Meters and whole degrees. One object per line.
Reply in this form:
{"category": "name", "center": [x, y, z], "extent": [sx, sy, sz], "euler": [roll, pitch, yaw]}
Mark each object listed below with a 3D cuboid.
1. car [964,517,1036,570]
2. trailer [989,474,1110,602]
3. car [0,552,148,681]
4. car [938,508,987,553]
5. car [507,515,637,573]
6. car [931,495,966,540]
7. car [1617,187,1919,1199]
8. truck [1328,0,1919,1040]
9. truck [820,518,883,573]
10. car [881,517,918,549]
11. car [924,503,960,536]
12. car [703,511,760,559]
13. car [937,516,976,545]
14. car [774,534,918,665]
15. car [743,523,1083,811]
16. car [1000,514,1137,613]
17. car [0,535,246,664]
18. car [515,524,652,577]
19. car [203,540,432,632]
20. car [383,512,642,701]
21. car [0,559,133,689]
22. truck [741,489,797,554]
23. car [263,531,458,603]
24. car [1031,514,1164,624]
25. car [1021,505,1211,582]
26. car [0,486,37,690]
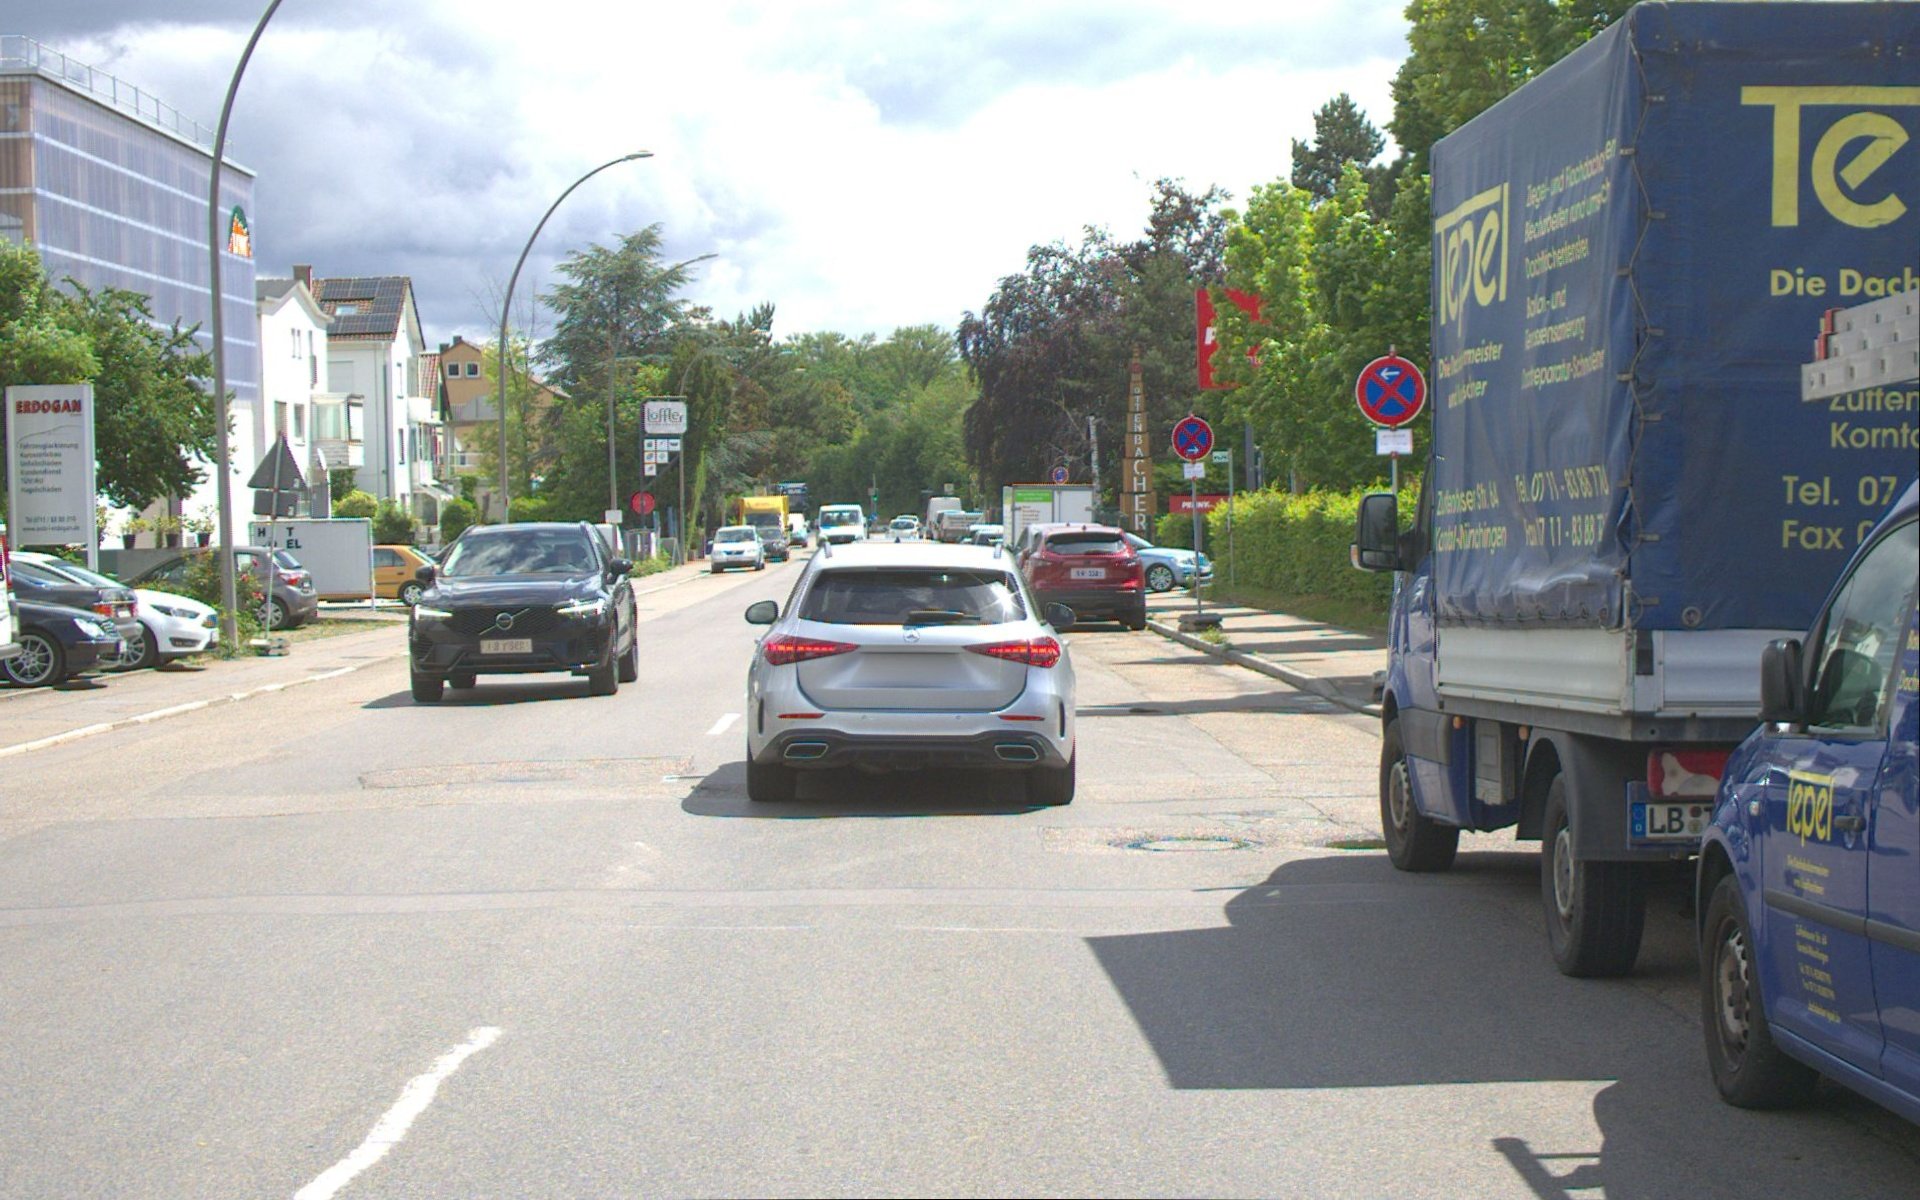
{"category": "car", "center": [1.149, -1.675, 100.568], "extent": [1.791, 1.445, 4.364], "euler": [-2, 2, -3]}
{"category": "trailer", "center": [1.639, -1.174, 64.586], "extent": [1.941, 2.286, 4.446], "euler": [-2, 1, -2]}
{"category": "car", "center": [-11.301, 0.189, 38.372], "extent": [3.987, 1.350, 1.871], "euler": [-1, 2, 2]}
{"category": "car", "center": [0.093, -3.238, 159.371], "extent": [2.144, 1.977, 5.261], "euler": [-1, 2, 0]}
{"category": "car", "center": [-13.366, -1.918, 118.574], "extent": [4.279, 1.830, 1.991], "euler": [-1, -2, -2]}
{"category": "car", "center": [-0.687, -4.711, 196.806], "extent": [1.784, 2.510, 4.317], "euler": [0, 1, -3]}
{"category": "car", "center": [2.854, 0.243, 7.583], "extent": [1.873, 2.161, 4.465], "euler": [1, 2, -1]}
{"category": "truck", "center": [2.945, -0.346, 13.021], "extent": [2.320, 3.086, 6.043], "euler": [1, 2, -1]}
{"category": "truck", "center": [-4.577, -2.348, 146.170], "extent": [2.319, 2.171, 6.449], "euler": [-2, 2, 1]}
{"category": "car", "center": [-3.009, -3.303, 168.978], "extent": [1.755, 1.552, 4.001], "euler": [-1, 2, -2]}
{"category": "car", "center": [-0.977, -4.319, 184.539], "extent": [1.784, 1.709, 4.317], "euler": [0, 1, -3]}
{"category": "car", "center": [-8.204, -2.361, 123.772], "extent": [1.791, 1.598, 4.364], "euler": [-2, 2, -1]}
{"category": "car", "center": [-0.201, -3.572, 177.993], "extent": [1.784, 1.479, 4.317], "euler": [0, 1, -3]}
{"category": "car", "center": [-1.461, -0.042, 44.305], "extent": [1.755, 1.552, 4.001], "euler": [-1, 2, -2]}
{"category": "car", "center": [-0.352, 0.308, 20.233], "extent": [1.784, 1.479, 4.317], "euler": [0, 2, -3]}
{"category": "car", "center": [1.814, -0.661, 58.884], "extent": [1.941, 1.566, 4.446], "euler": [-2, 2, -3]}
{"category": "car", "center": [-10.996, 0.008, 41.416], "extent": [4.374, 1.473, 1.871], "euler": [-1, 0, 0]}
{"category": "car", "center": [-12.373, -1.615, 113.079], "extent": [4.279, 1.561, 1.991], "euler": [-1, -2, 0]}
{"category": "car", "center": [-11.367, -0.262, 60.966], "extent": [3.628, 1.527, 1.980], "euler": [-1, 2, 1]}
{"category": "car", "center": [-4.247, 0.001, 33.266], "extent": [1.993, 1.610, 4.412], "euler": [-2, 2, -2]}
{"category": "car", "center": [-10.910, 0.266, 36.158], "extent": [3.986, 1.310, 1.872], "euler": [-1, 1, -2]}
{"category": "truck", "center": [-8.724, -3.631, 157.668], "extent": [2.075, 2.804, 7.078], "euler": [-2, 2, 0]}
{"category": "car", "center": [-13.484, -0.754, 77.539], "extent": [4.149, 1.486, 1.826], "euler": [1, 2, -4]}
{"category": "car", "center": [2.091, -0.521, 53.332], "extent": [1.941, 1.566, 4.446], "euler": [-1, 2, 1]}
{"category": "car", "center": [3.485, -1.274, 76.482], "extent": [3.988, 1.590, 1.999], "euler": [2, 2, 9]}
{"category": "car", "center": [-11.661, -0.092, 33.776], "extent": [4.650, 1.965, 2.116], "euler": [-1, 2, -4]}
